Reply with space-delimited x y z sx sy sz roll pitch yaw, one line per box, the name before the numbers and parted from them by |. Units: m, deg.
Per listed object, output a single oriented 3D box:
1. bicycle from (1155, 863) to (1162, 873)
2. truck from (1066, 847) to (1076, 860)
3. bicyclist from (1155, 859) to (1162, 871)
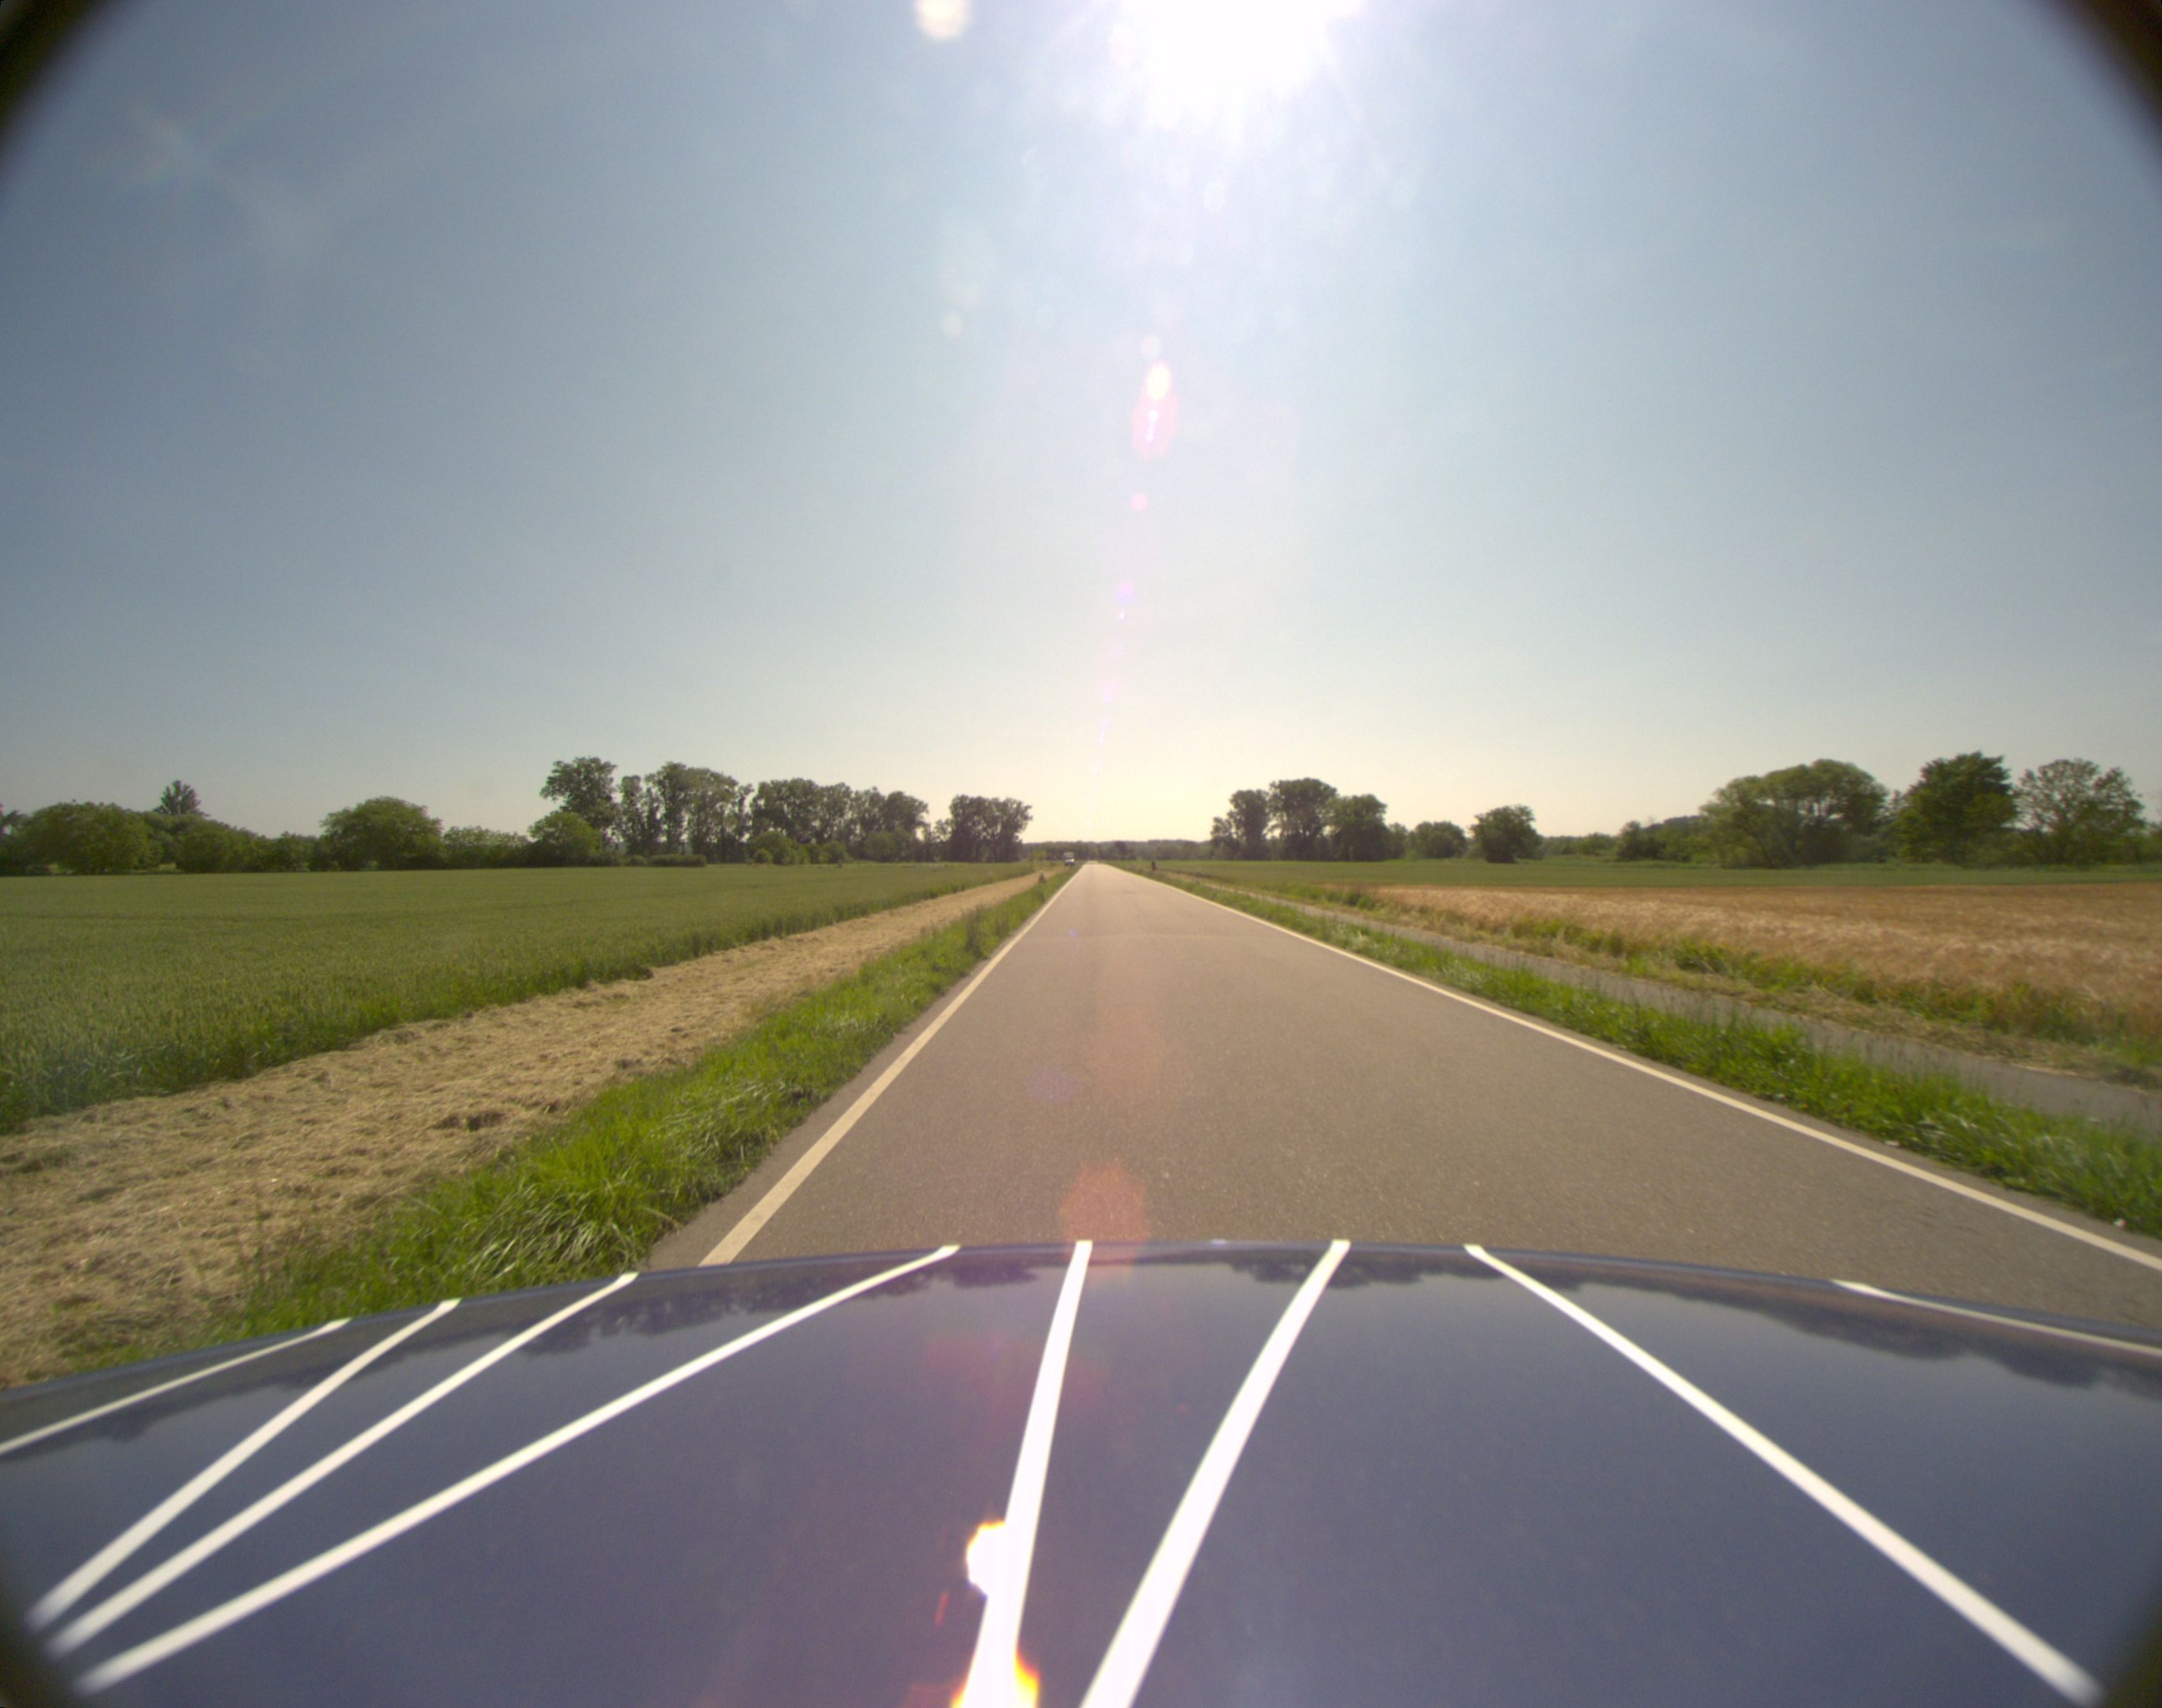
bicycle | 9.561 1.708 93.631 0.743 1.165 2.083 0 0 1
truck | -2.138 -0.123 165.380 1.998 2.821 5.218 0 0 1
bicyclist | 9.550 1.397 93.628 0.743 1.487 1.003 0 0 1
